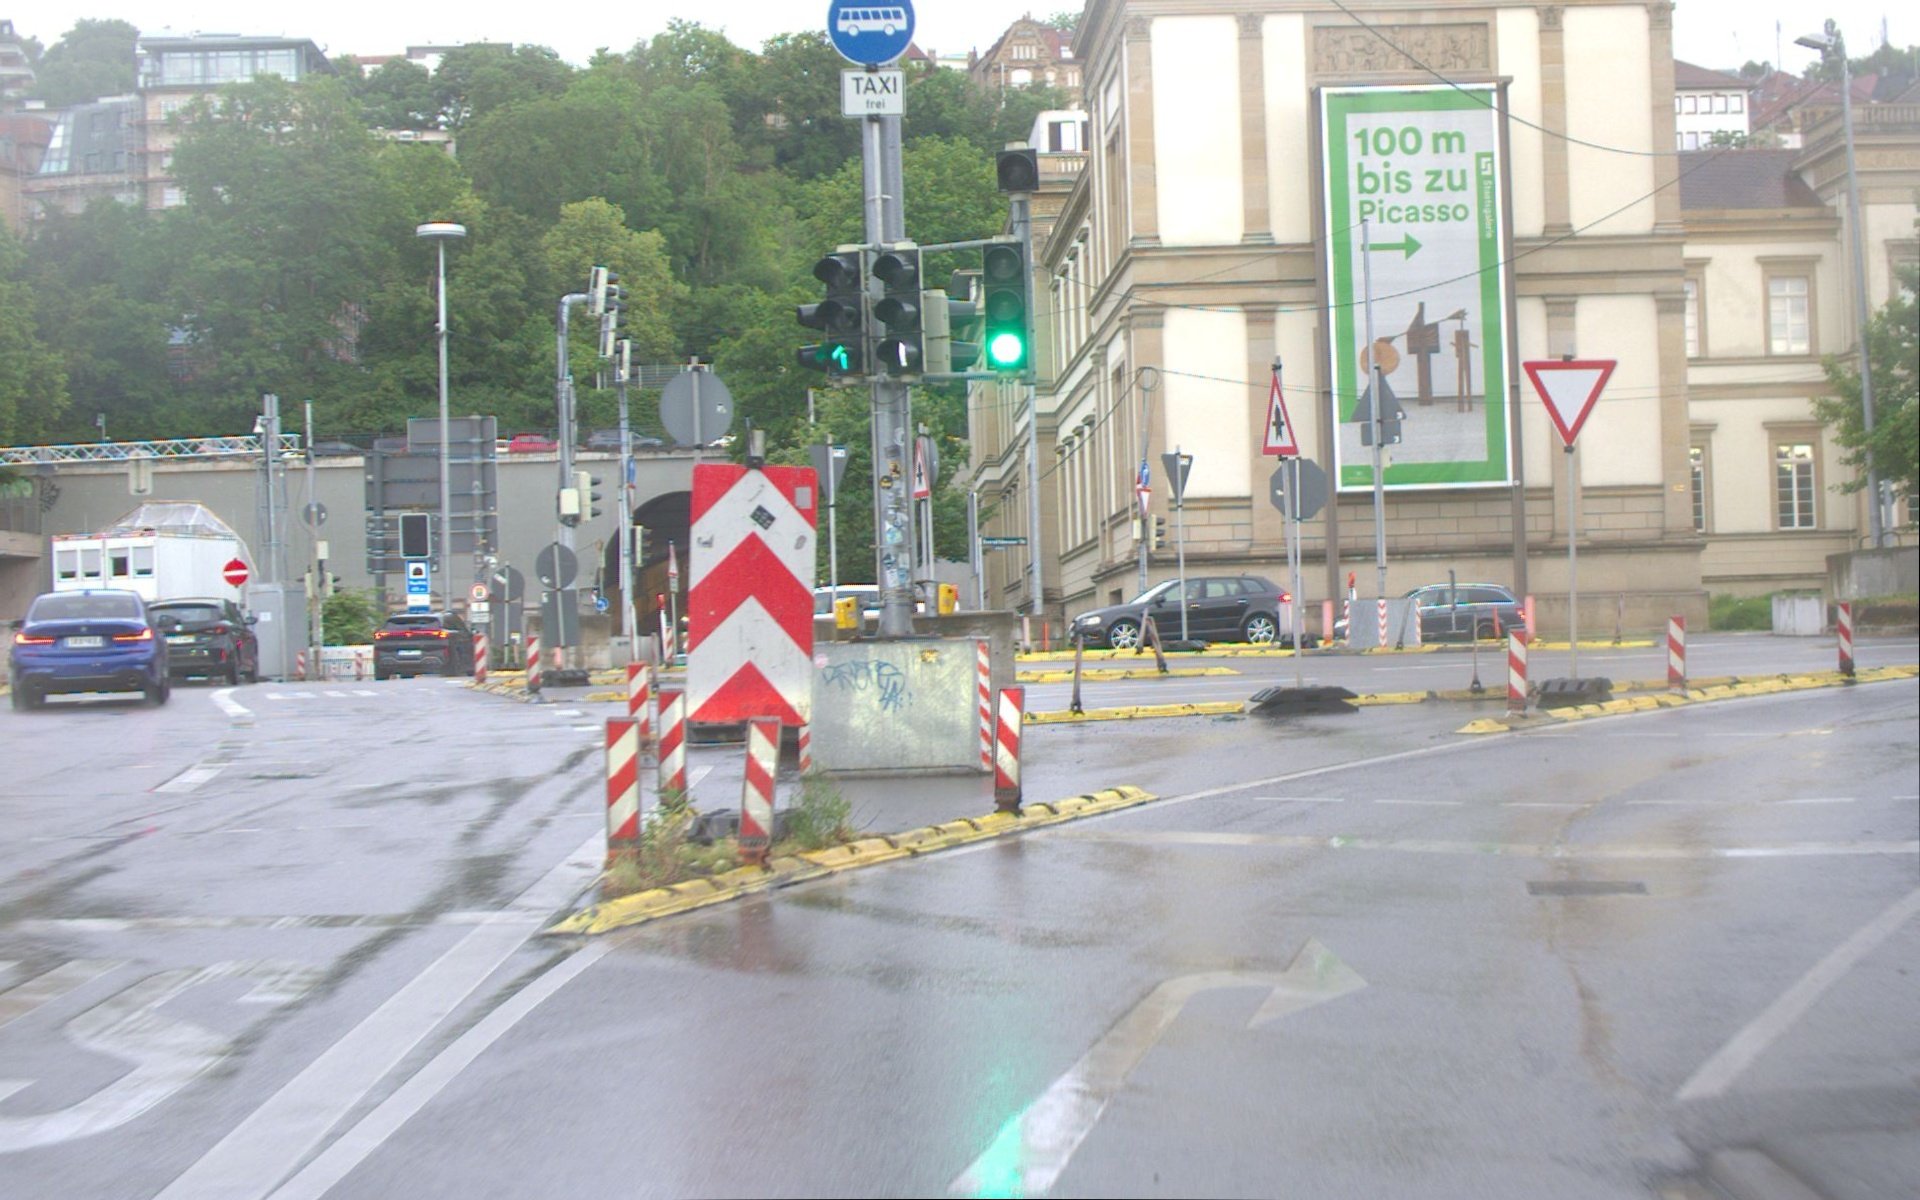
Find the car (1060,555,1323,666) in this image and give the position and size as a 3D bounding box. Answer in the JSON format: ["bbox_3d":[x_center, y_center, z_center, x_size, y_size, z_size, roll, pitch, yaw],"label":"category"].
[{"bbox_3d":[4.325,0.185,64.682,4.674,2.007,2.000,-1,1,-5],"label":"car"}]

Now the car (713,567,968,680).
[{"bbox_3d":[-2.250,0.412,64.026,4.625,2.007,2.000,-1,1,-5],"label":"car"}]

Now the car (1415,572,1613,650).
[{"bbox_3d":[12.498,0.231,77.732,4.180,1.695,1.823,0,1,0],"label":"car"}]

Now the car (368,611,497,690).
[{"bbox_3d":[-11.748,1.105,76.760,1.994,1.628,4.000,1,1,4],"label":"car"}]

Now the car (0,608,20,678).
[{"bbox_3d":[-28.835,1.273,99.435,1.994,2.007,4.000,0,1,3],"label":"car"}]

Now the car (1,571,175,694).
[{"bbox_3d":[-10.857,0.379,42.658,1.993,1.433,4.001,-1,0,-15],"label":"car"}]

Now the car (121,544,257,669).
[{"bbox_3d":[-12.998,0.070,58.172,1.993,2.007,4.001,-1,1,-9],"label":"car"}]
